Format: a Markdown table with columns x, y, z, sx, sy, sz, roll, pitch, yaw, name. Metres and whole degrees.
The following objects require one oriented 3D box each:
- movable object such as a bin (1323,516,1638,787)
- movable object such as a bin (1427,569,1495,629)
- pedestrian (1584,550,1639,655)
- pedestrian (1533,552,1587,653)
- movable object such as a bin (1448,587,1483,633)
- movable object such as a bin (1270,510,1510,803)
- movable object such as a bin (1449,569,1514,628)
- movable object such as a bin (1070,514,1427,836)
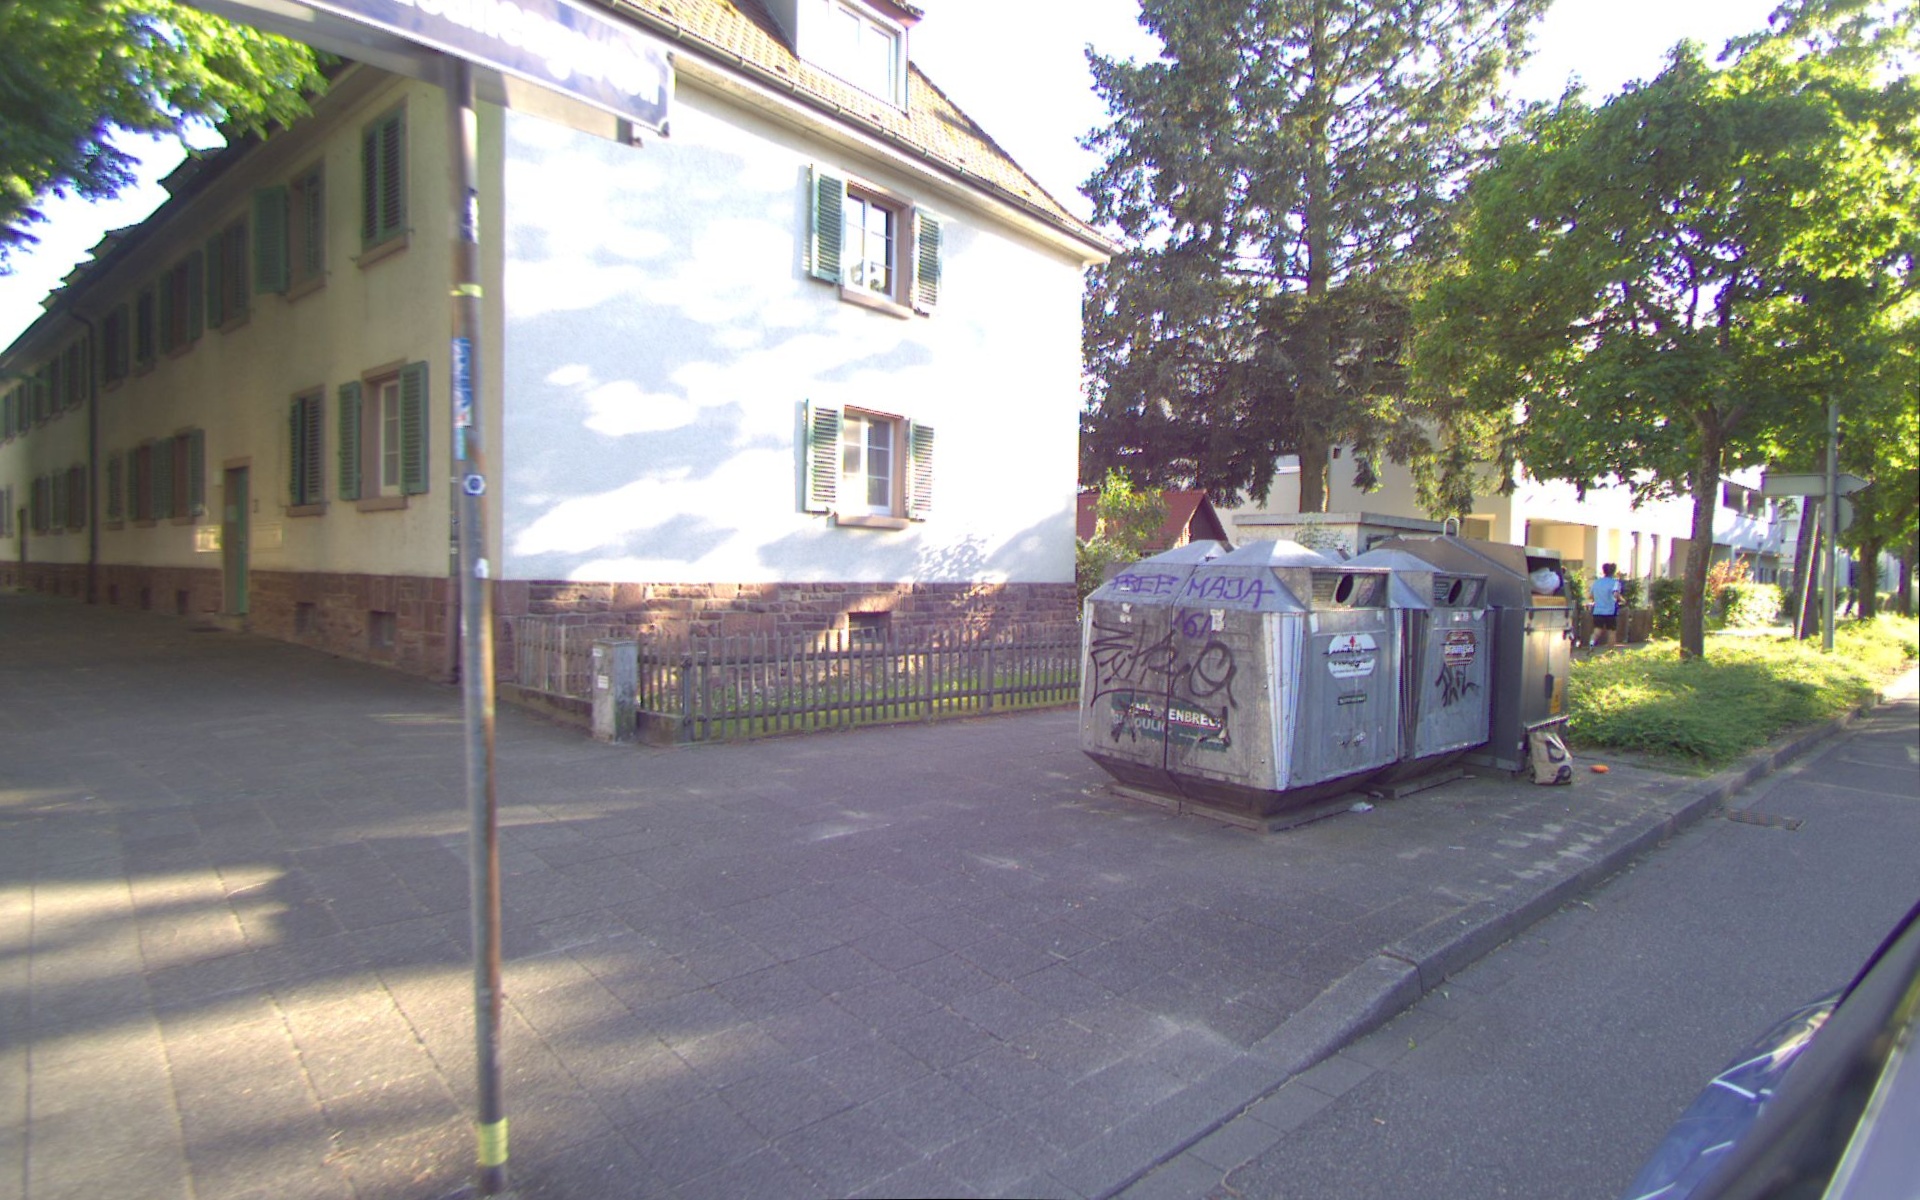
| x | y | z | sx | sy | sz | roll | pitch | yaw | name |
| --- | --- | --- | --- | --- | --- | --- | --- | --- | --- |
| 4.170 | 0.338 | 8.184 | 1.370 | 1.876 | 1.923 | -1 | 1 | -42 | movable object such as a bin |
| 12.666 | -0.046 | 25.581 | 1.364 | 1.448 | 1.080 | -1 | 3 | -43 | movable object such as a bin |
| 12.326 | 0.037 | 19.143 | 0.880 | 1.917 | 0.674 | -1 | 1 | -42 | pedestrian |
| 11.725 | 0.029 | 19.771 | 1.001 | 1.917 | 0.643 | -1 | 1 | -42 | pedestrian |
| 12.163 | 0.234 | 24.334 | 0.605 | 1.042 | 0.538 | -1 | 3 | -43 | movable object such as a bin |
| 3.098 | 0.339 | 7.278 | 1.363 | 1.850 | 1.148 | -1 | 1 | -43 | movable object such as a bin |
| 13.706 | -0.059 | 26.579 | 1.343 | 1.444 | 1.080 | -1 | 3 | -43 | movable object such as a bin |
| 1.825 | 0.372 | 6.417 | 1.612 | 1.678 | 1.588 | -1 | 1 | -43 | movable object such as a bin |
